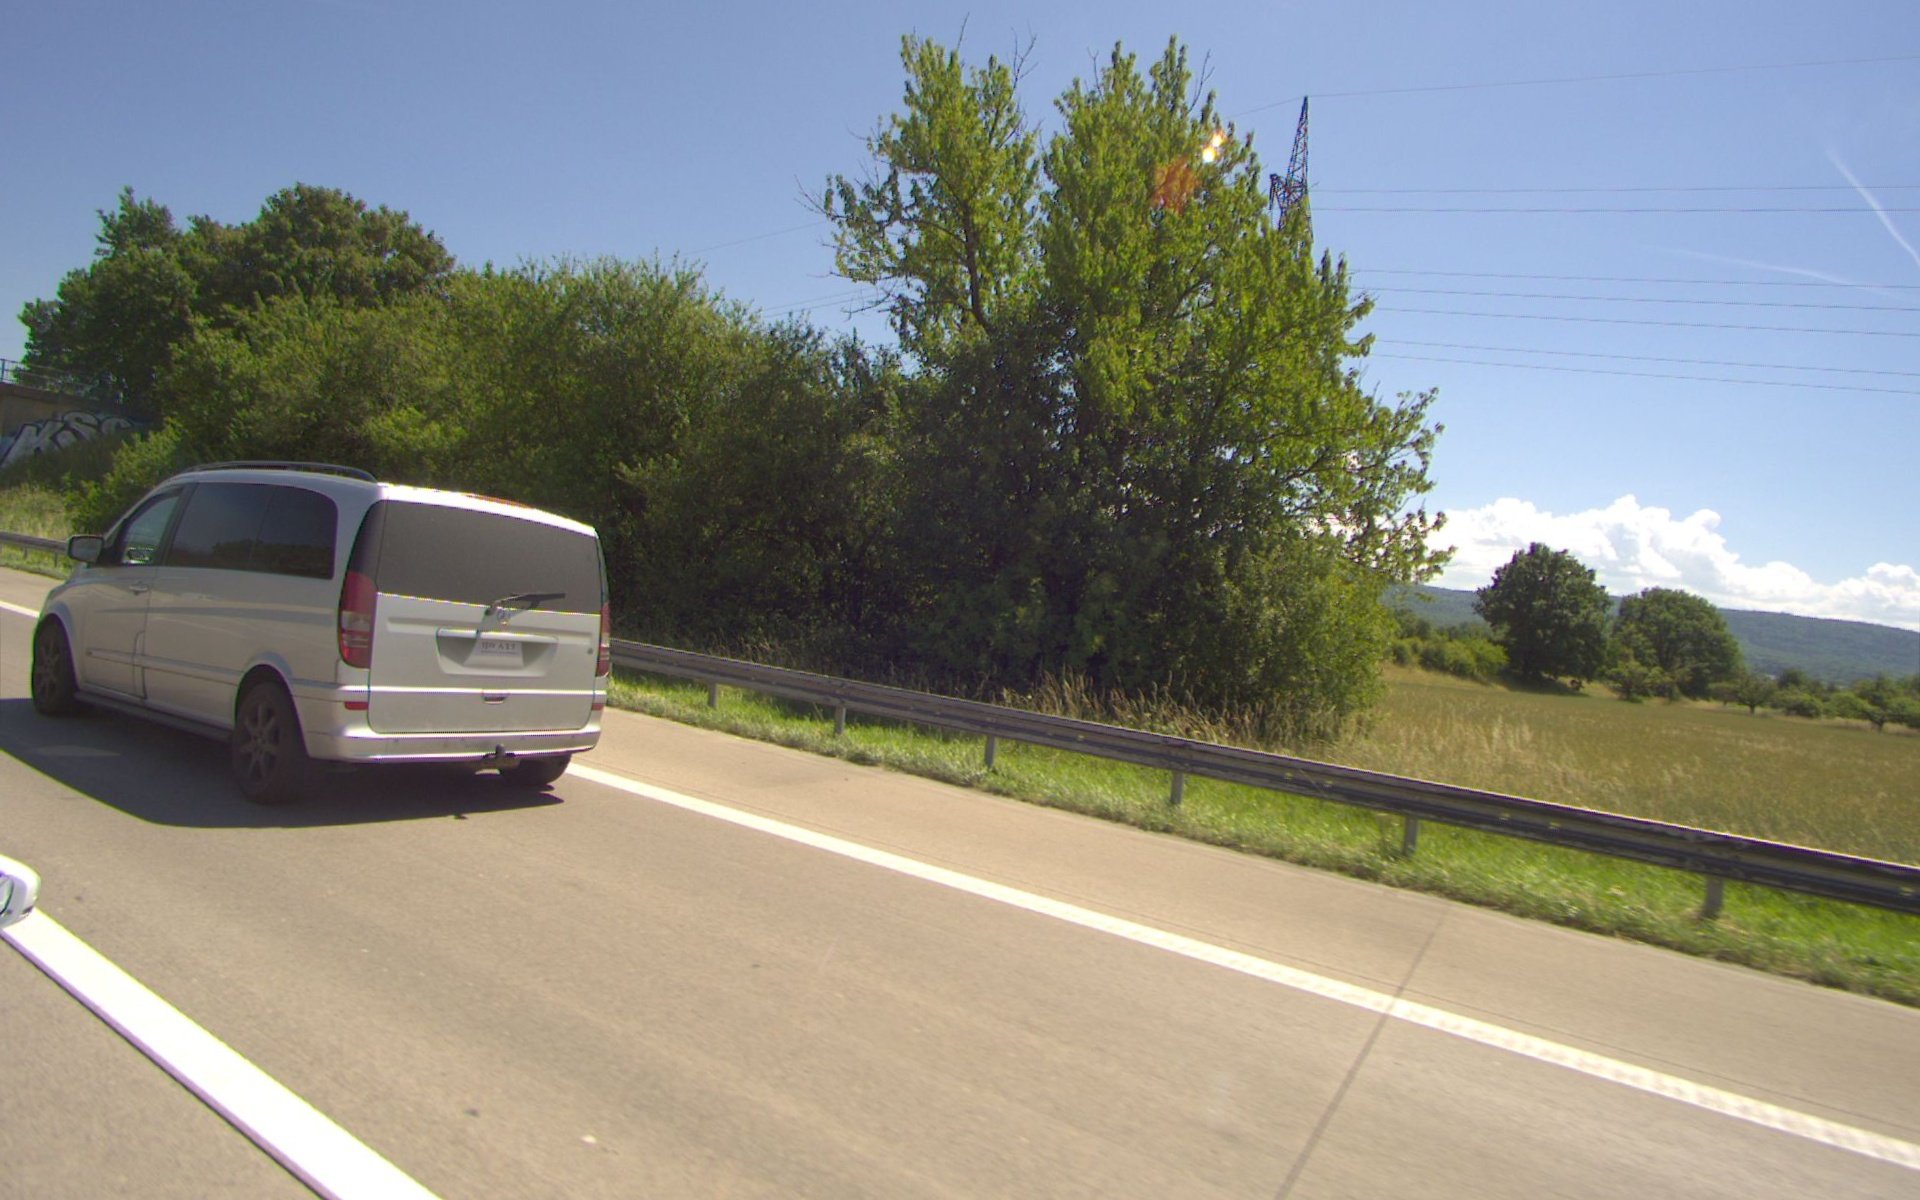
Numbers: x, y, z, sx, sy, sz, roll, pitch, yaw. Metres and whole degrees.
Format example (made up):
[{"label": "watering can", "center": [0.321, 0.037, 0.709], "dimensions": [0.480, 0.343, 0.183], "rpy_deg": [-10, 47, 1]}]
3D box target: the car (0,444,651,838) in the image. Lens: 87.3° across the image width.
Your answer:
[{"label": "car", "center": [-4.829, 0.076, 7.241], "dimensions": [5.192, 1.911, 1.882], "rpy_deg": [7, -1, 32]}]
